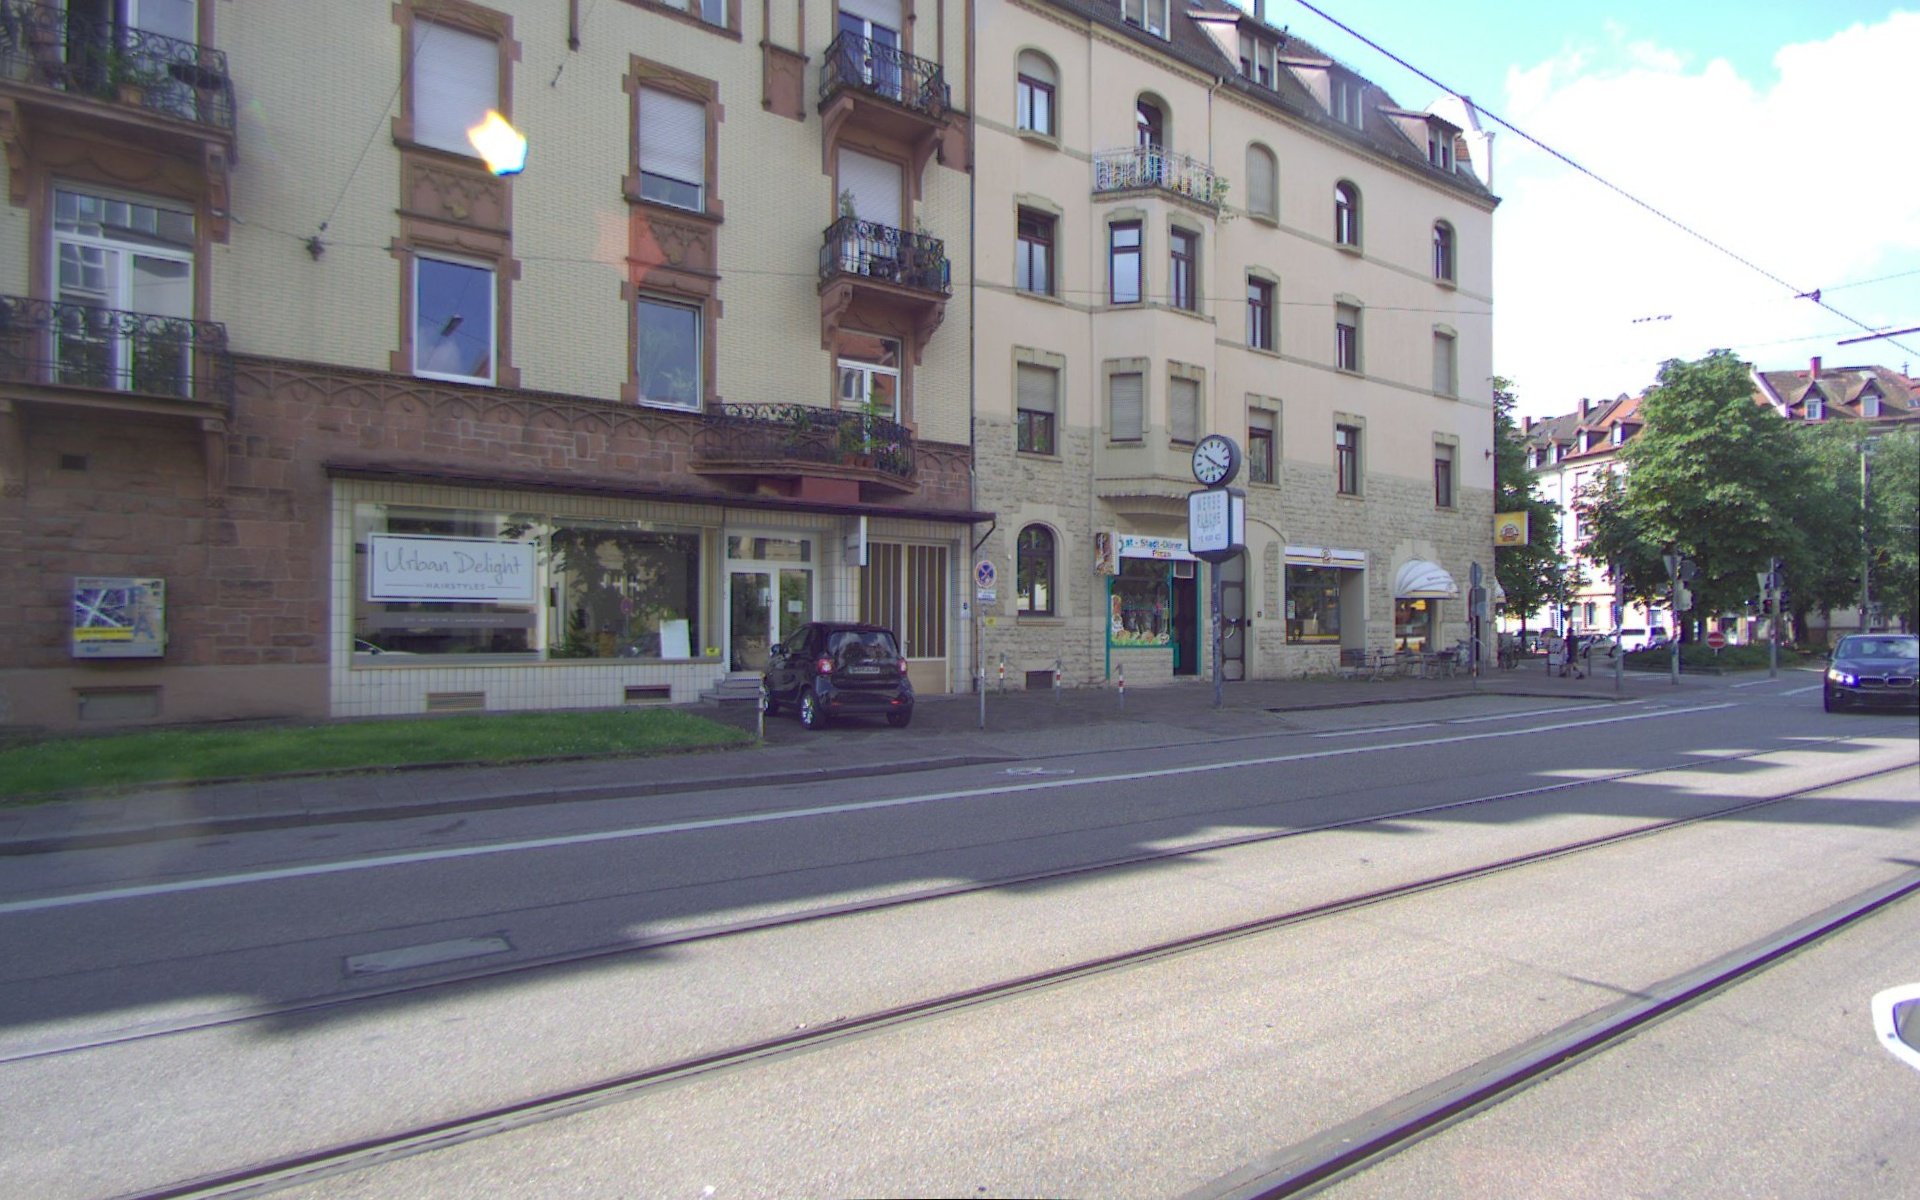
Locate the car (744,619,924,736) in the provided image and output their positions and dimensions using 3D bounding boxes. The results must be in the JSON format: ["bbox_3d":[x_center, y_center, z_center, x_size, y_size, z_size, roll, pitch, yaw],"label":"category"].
[{"bbox_3d":[-2.069,1.119,15.836,1.716,1.505,3.162,1,1,-30],"label":"car"}]

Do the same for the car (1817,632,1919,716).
[{"bbox_3d":[18.593,1.411,20.253,1.738,1.538,4.043,-1,-2,44],"label":"car"}]

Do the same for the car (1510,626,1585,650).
[{"bbox_3d":[40.003,2.561,68.483,1.976,1.617,3.970,1,-2,-29],"label":"car"}]

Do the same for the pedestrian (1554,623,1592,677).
[{"bbox_3d":[19.658,1.588,32.228,0.690,1.706,0.750,1,-1,-21],"label":"pedestrian"}]

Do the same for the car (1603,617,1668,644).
[{"bbox_3d":[50.170,2.277,74.704,1.962,1.929,3.997,0,-2,-5],"label":"car"}]

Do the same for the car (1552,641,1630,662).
[{"bbox_3d":[37.626,3.076,59.928,3.931,1.198,1.675,1,-2,-13],"label":"car"}]
